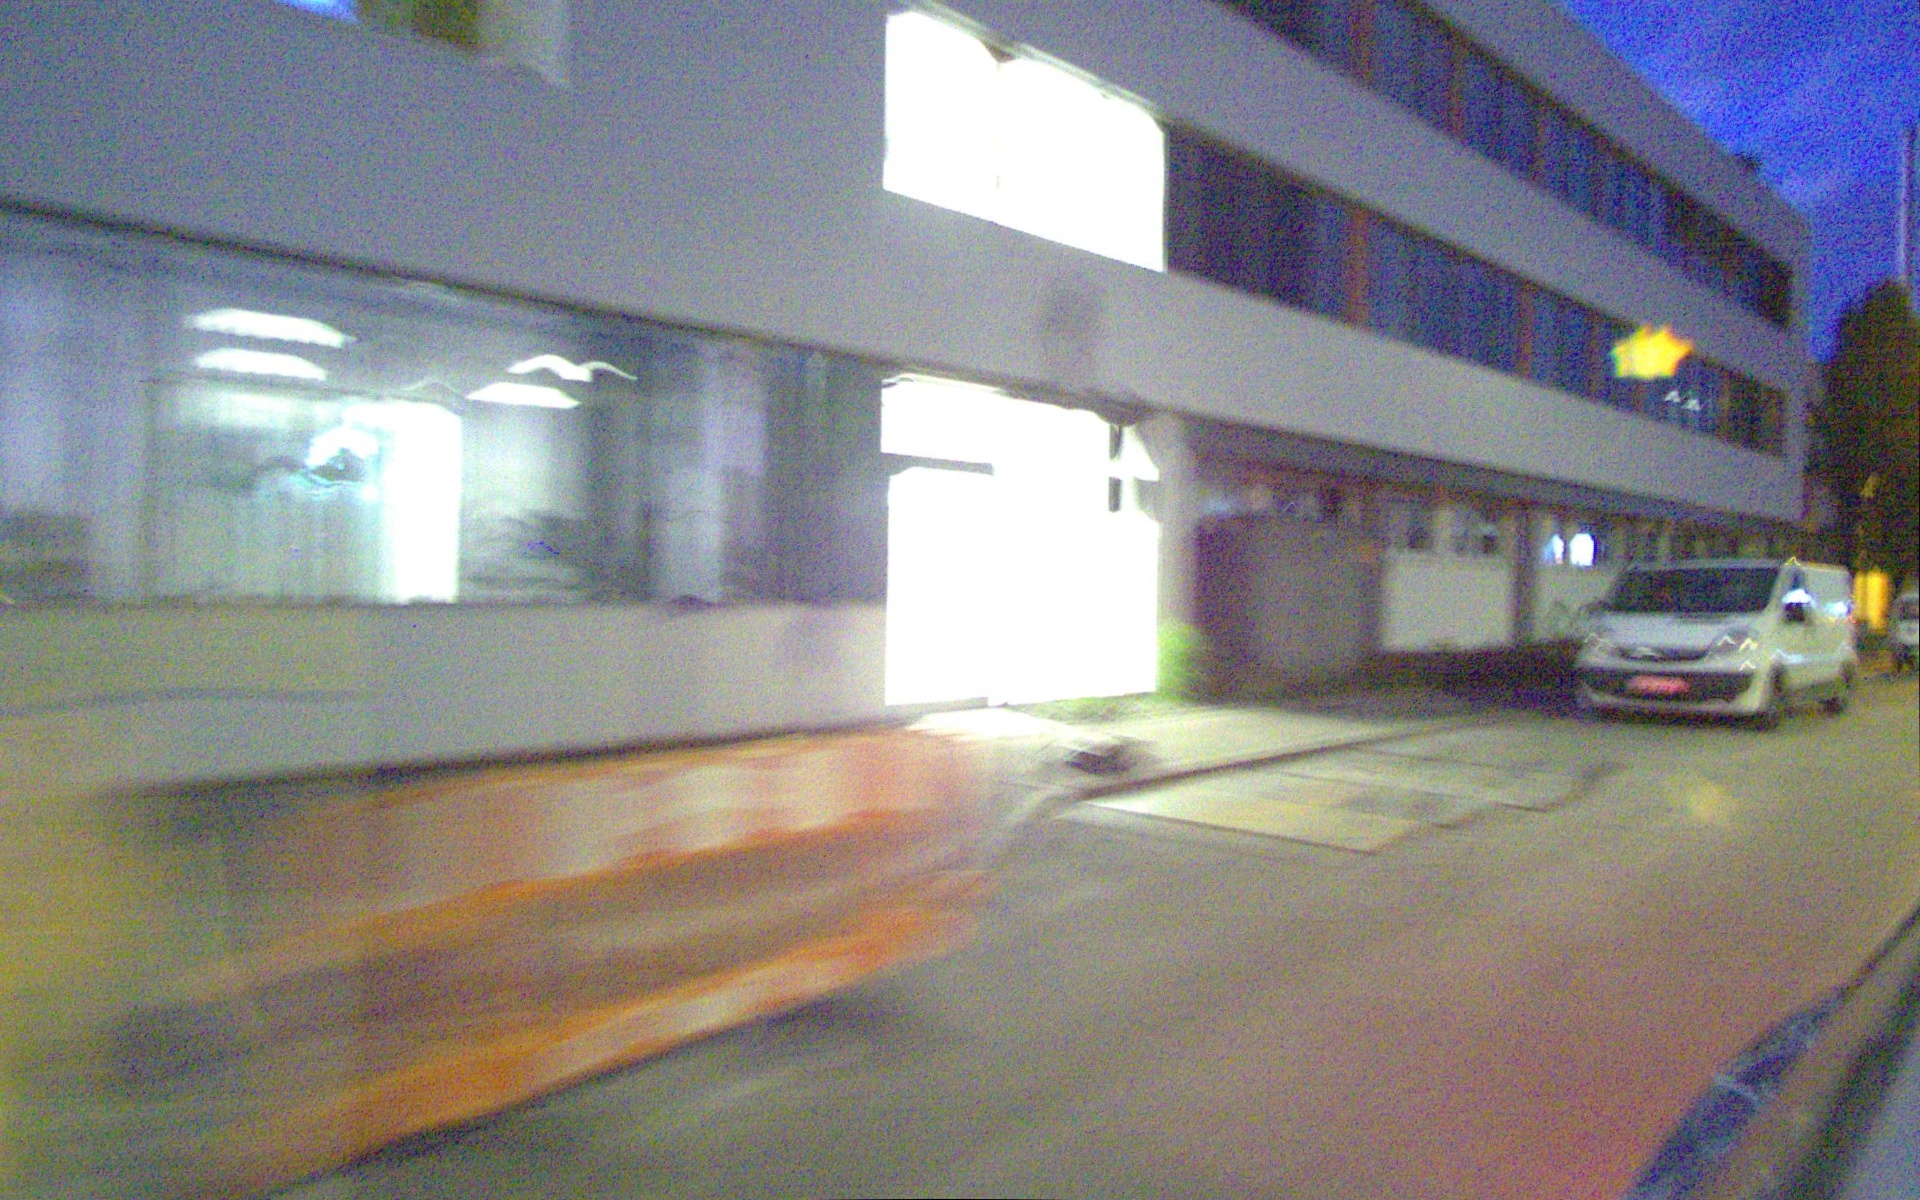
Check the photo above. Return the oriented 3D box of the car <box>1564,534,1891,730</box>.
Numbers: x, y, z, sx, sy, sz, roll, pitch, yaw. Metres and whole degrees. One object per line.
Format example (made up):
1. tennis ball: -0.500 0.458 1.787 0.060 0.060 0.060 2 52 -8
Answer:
1. car: 9.769 0.289 12.753 4.820 2.038 2.000 0 2 -37

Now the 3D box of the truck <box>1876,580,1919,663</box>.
1. truck: 20.679 0.414 21.350 3.742 1.665 1.374 -1 1 -38

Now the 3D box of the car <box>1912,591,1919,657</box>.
1. car: 24.629 0.571 24.007 4.914 1.508 1.953 0 1 -34
